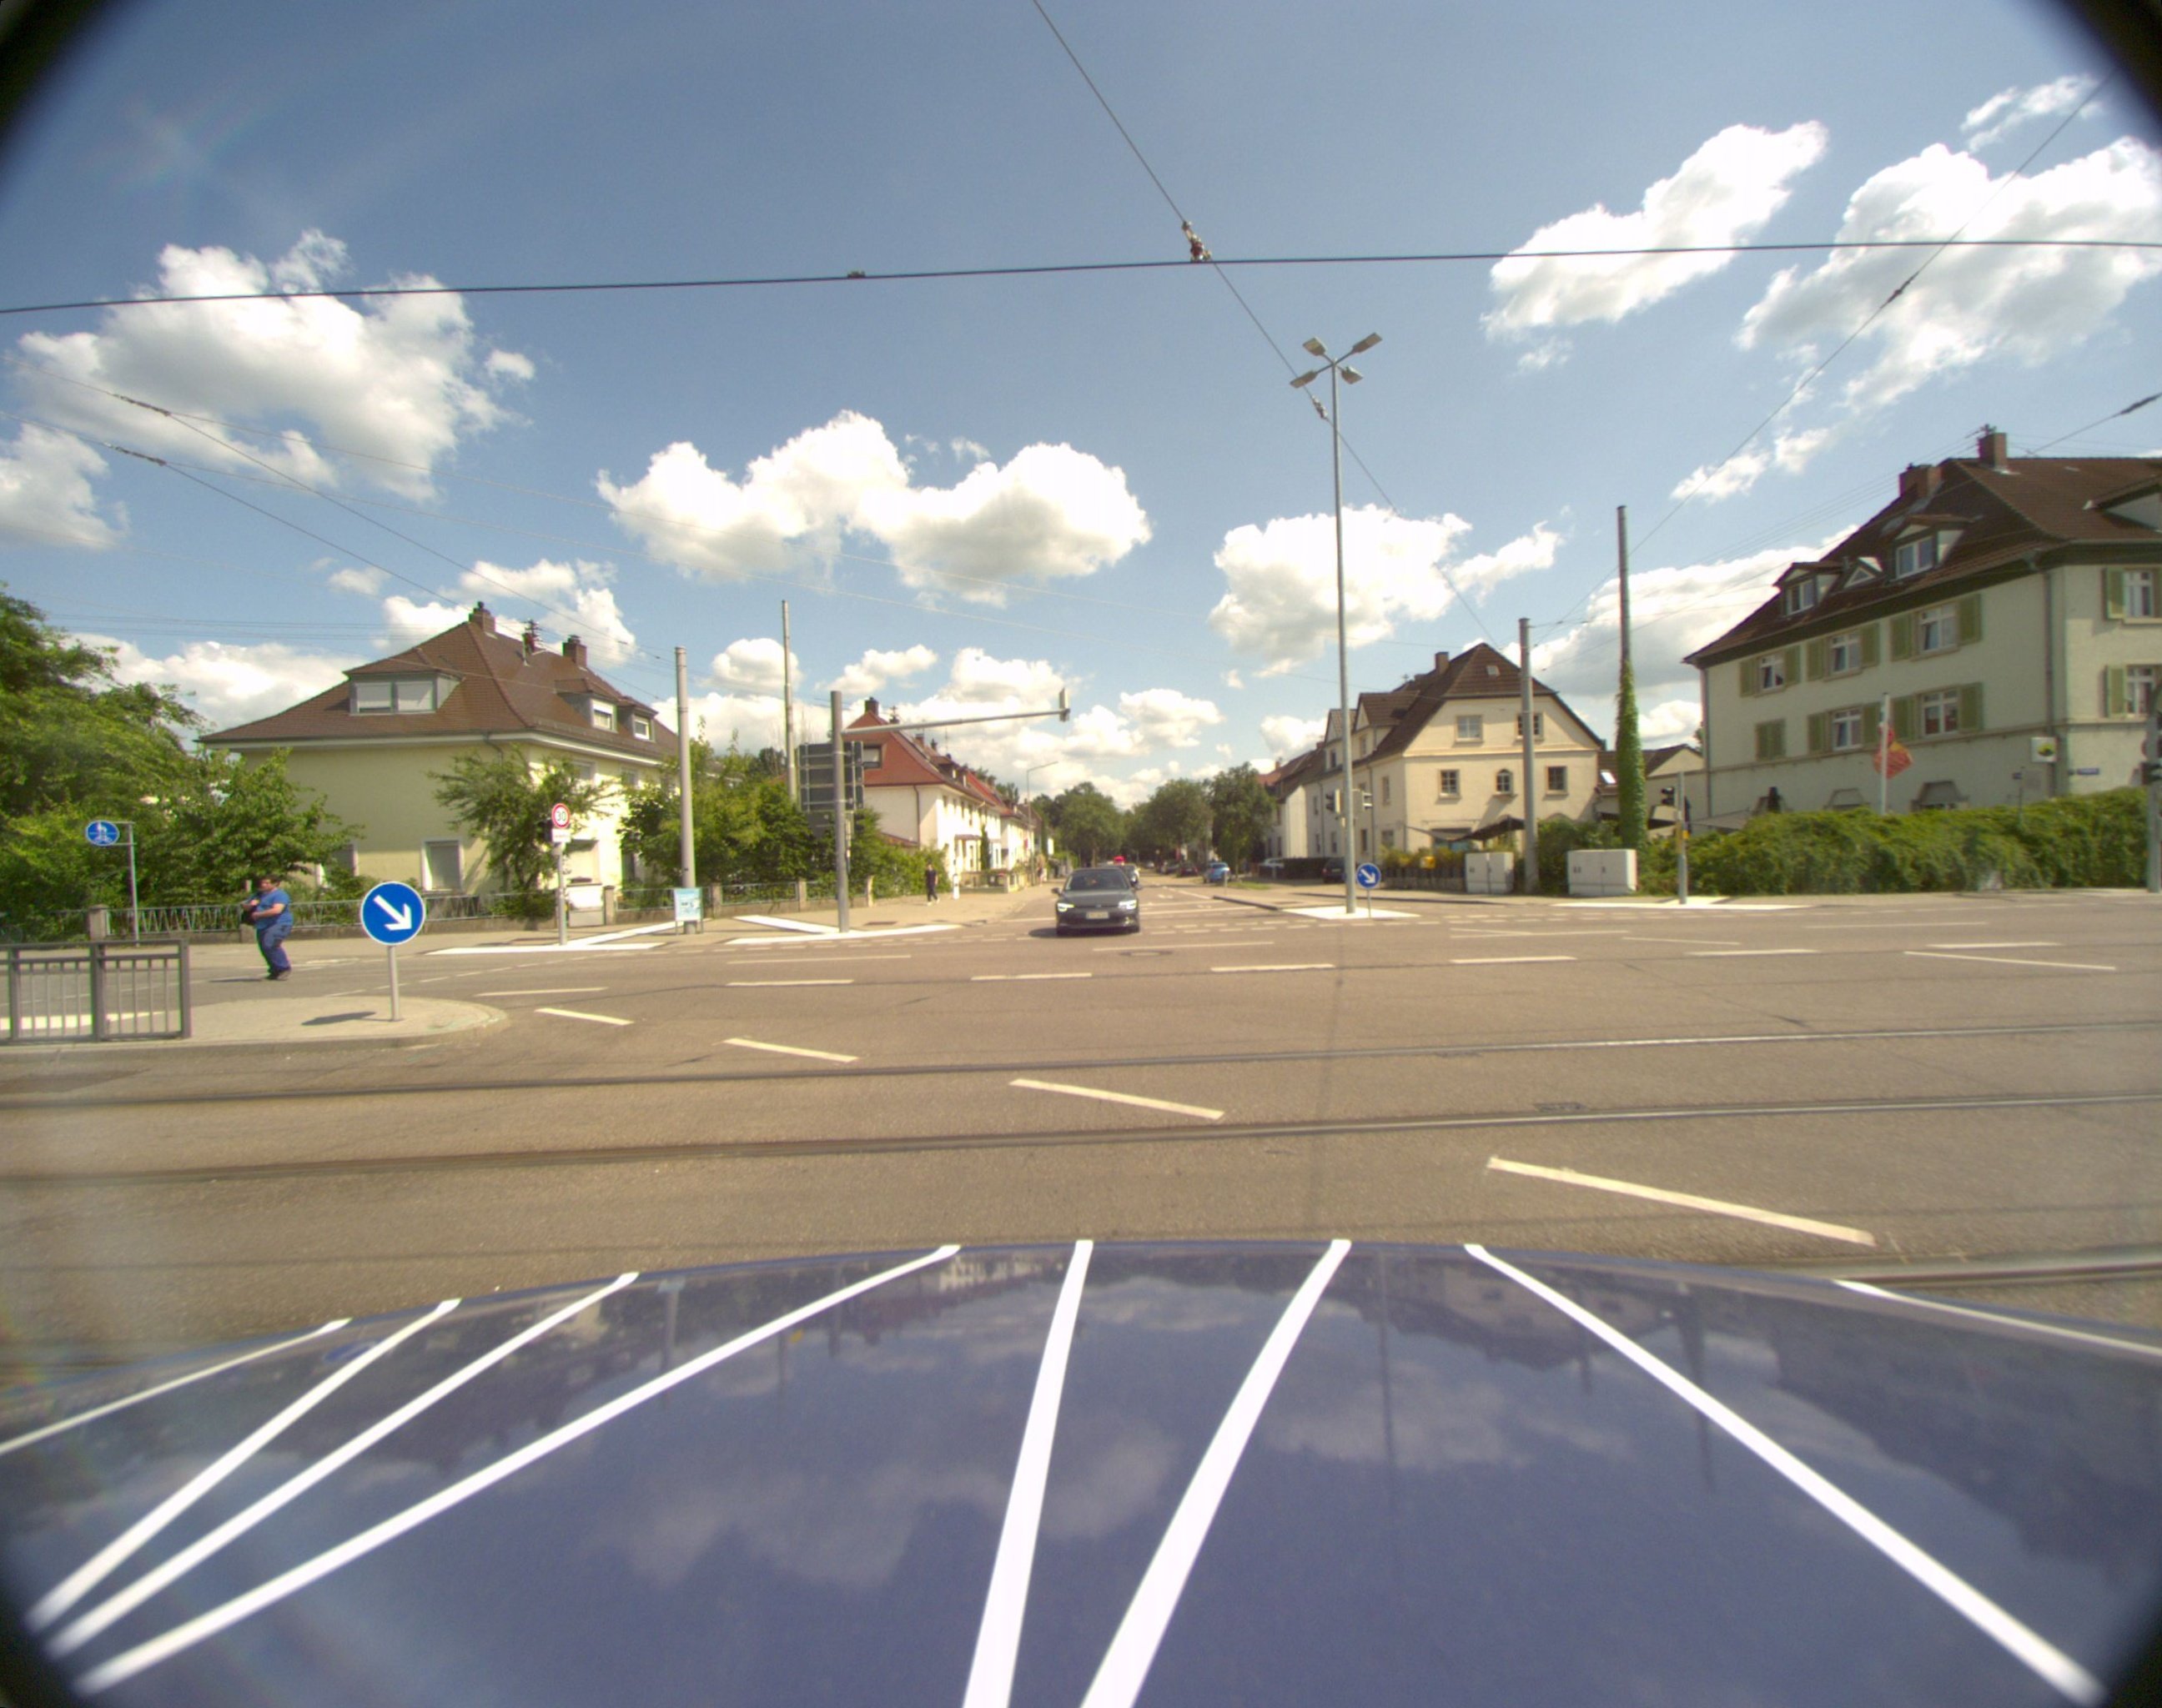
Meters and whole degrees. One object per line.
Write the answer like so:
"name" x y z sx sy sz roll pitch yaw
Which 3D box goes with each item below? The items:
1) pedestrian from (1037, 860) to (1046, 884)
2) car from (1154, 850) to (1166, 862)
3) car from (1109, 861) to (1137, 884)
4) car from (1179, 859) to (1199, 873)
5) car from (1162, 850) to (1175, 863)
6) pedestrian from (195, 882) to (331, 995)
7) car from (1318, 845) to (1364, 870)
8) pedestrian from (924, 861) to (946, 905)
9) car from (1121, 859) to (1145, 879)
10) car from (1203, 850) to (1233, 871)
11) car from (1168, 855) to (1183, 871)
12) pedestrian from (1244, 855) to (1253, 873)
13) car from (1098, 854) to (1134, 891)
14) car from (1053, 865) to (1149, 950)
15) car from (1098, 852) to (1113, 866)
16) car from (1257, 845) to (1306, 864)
"pedestrian" -2.799 1.277 53.908 0.519 1.701 0.618 -2 1 3
"car" 10.731 0.271 103.314 1.562 1.645 3.252 -2 0 4
"car" 2.850 1.220 51.967 1.709 1.454 3.154 -2 0 1
"car" 10.545 1.136 74.343 1.709 1.288 3.919 -2 0 4
"car" 10.868 0.282 94.270 1.623 1.417 3.002 -3 0 7
"pedestrian" -13.434 1.354 12.530 1.032 1.725 1.040 -2 1 -3
"car" 15.699 0.208 45.772 1.757 1.378 4.110 -2 0 31
"pedestrian" -6.052 1.197 31.473 0.592 1.757 0.938 -1 1 6
"car" 4.125 1.176 60.343 1.709 1.454 3.155 -2 0 2
"car" 10.147 0.471 56.466 1.709 1.454 3.155 -2 0 1
"car" 10.946 1.027 88.184 1.562 1.645 3.574 -2 0 4
"pedestrian" 14.313 0.866 65.052 0.632 1.526 0.618 -2 1 3
"car" 1.871 0.972 41.576 1.776 1.754 4.874 -2 1 2
"car" 0.360 1.043 16.728 1.766 1.465 4.686 -2 0 -1
"car" 2.763 0.574 84.821 1.381 1.493 3.002 -3 0 7
"car" 17.203 0.061 65.354 3.804 1.446 1.711 -2 0 4
